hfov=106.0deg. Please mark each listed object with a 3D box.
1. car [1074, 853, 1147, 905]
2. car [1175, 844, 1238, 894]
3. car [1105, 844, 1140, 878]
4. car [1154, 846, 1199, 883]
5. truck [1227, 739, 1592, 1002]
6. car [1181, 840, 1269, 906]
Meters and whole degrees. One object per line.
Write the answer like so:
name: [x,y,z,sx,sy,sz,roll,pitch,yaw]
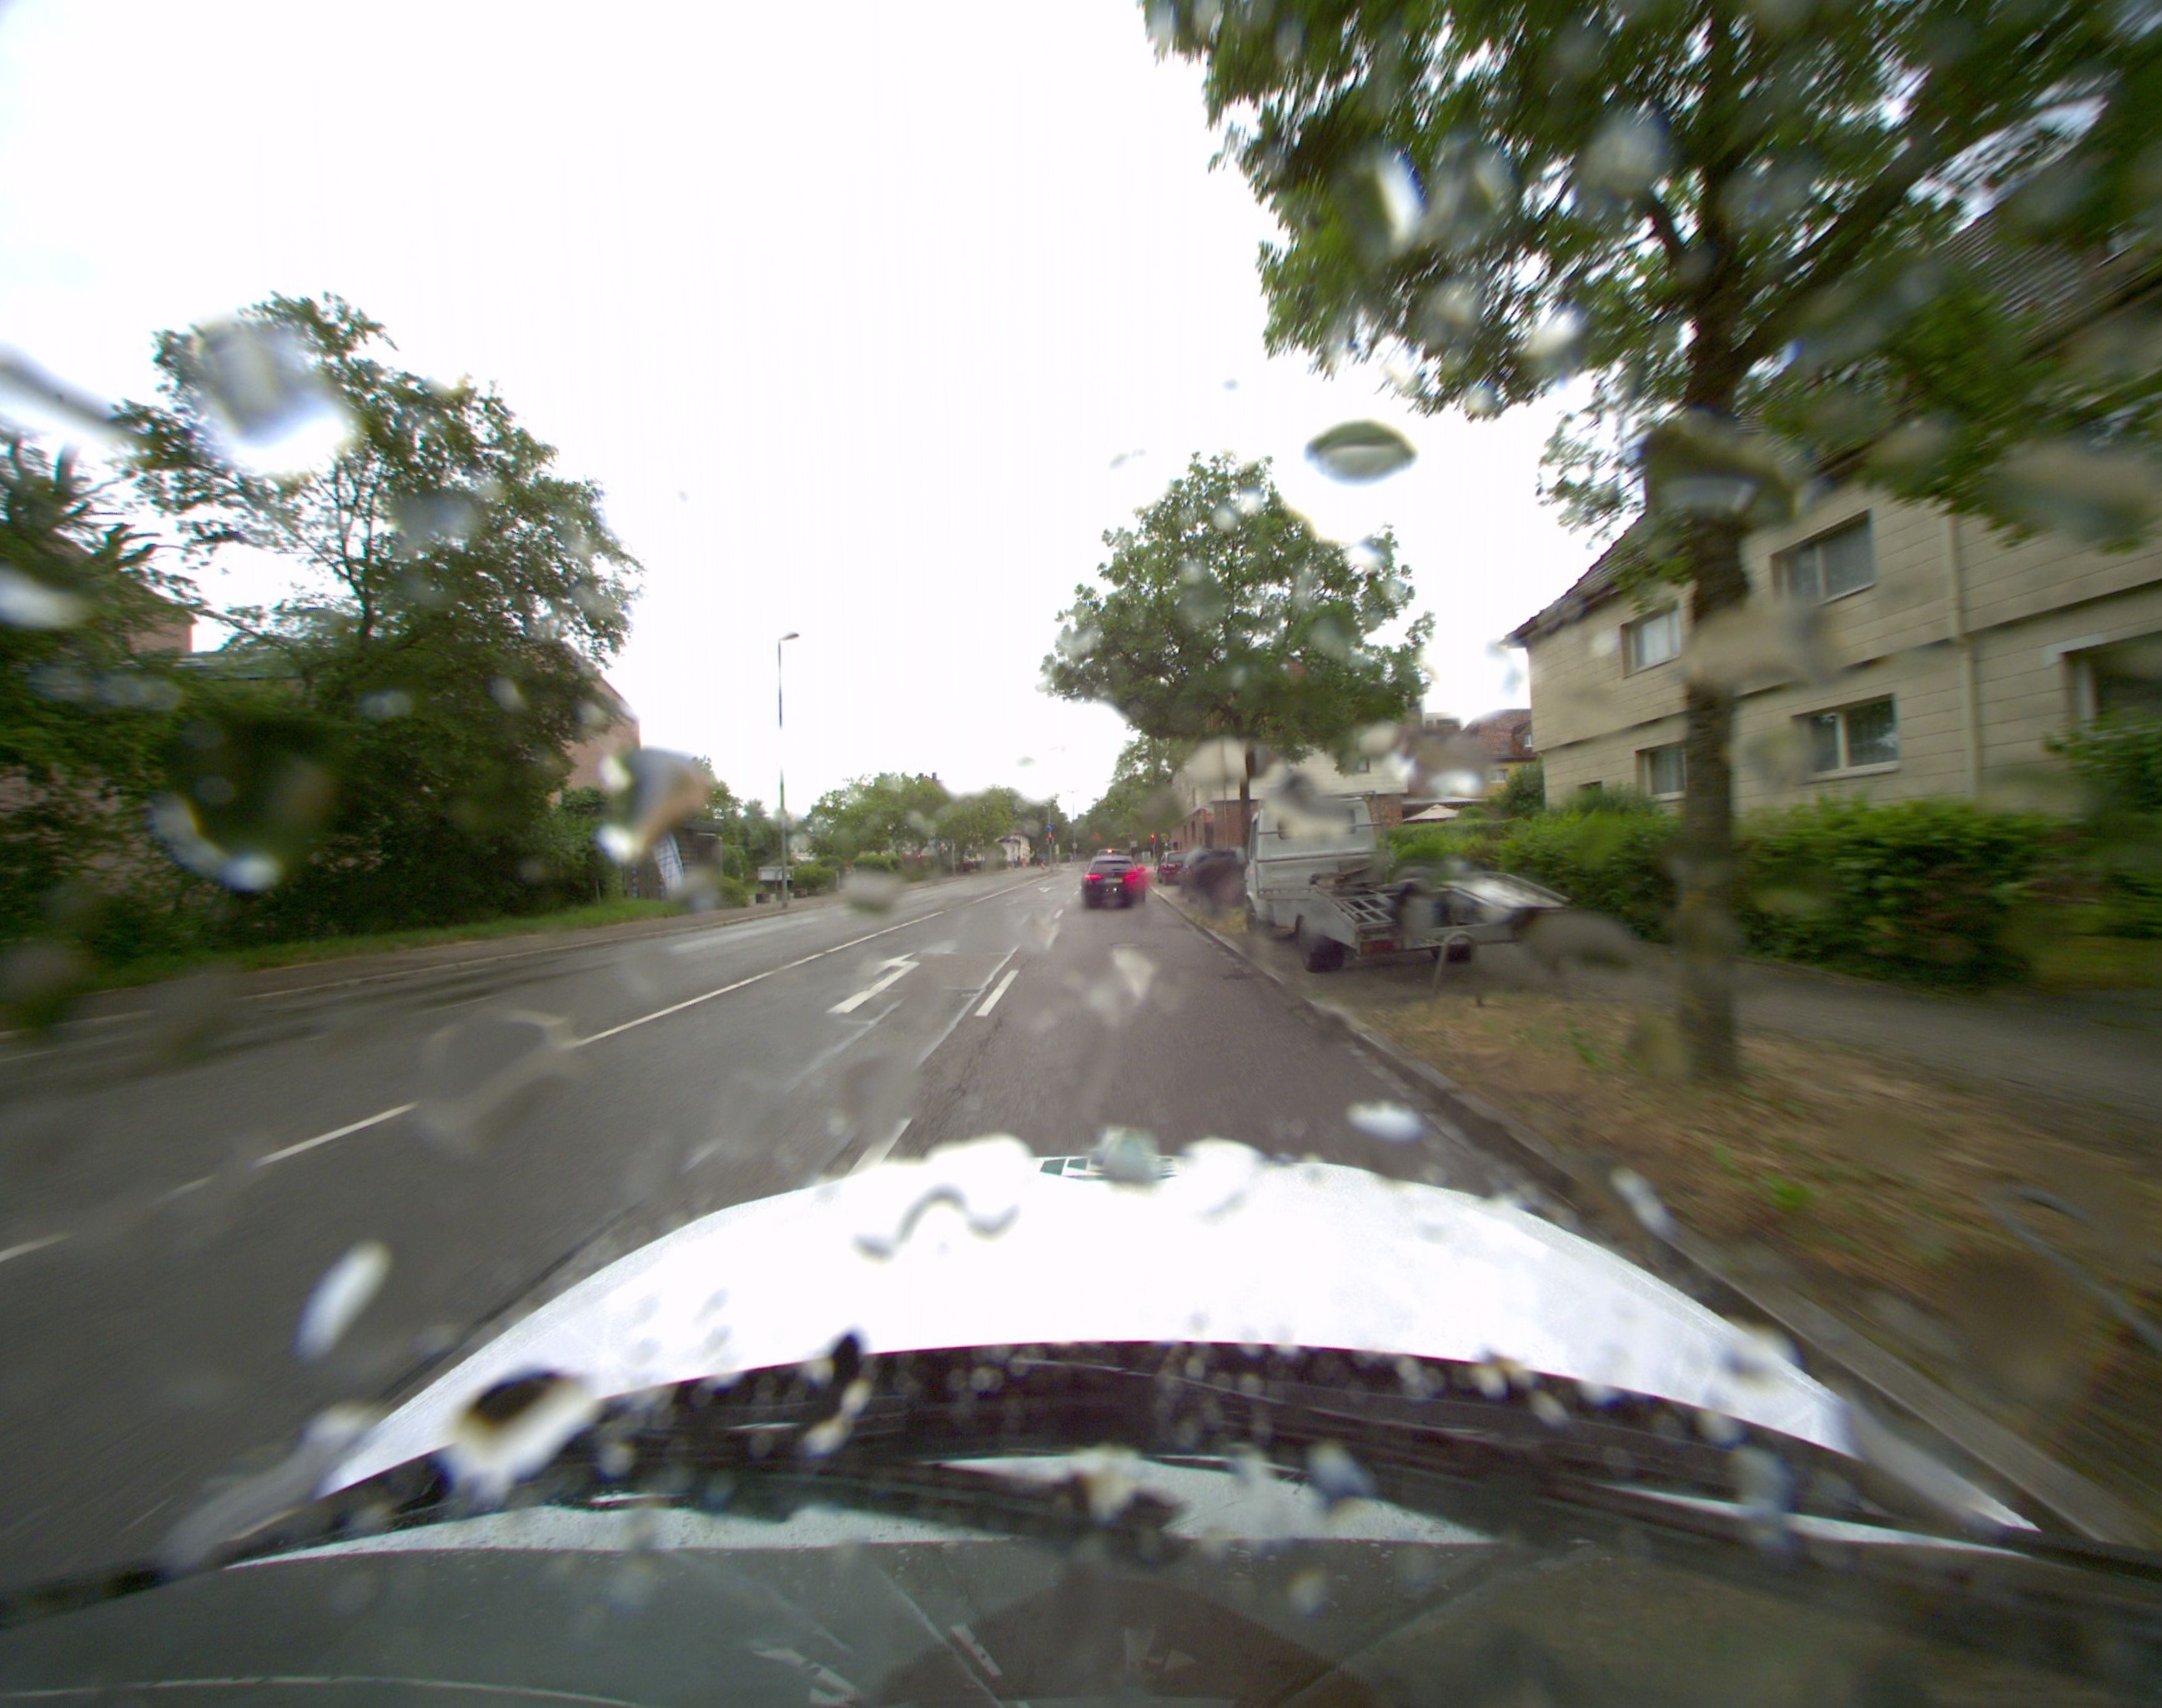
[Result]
car: [0.851,0.717,25.390,2.057,1.446,4.483,-1,0,0]
car: [4.268,0.465,28.141,1.598,1.472,3.858,-5,0,2]
car: [2.289,0.368,46.147,1.778,1.817,4.000,-2,0,1]
car: [4.384,0.433,37.777,1.579,1.490,3.627,-5,1,0]
truck: [3.588,0.136,10.689,2.073,2.221,6.502,-5,0,1]
car: [3.844,0.467,22.314,1.707,1.498,4.186,-5,0,2]
